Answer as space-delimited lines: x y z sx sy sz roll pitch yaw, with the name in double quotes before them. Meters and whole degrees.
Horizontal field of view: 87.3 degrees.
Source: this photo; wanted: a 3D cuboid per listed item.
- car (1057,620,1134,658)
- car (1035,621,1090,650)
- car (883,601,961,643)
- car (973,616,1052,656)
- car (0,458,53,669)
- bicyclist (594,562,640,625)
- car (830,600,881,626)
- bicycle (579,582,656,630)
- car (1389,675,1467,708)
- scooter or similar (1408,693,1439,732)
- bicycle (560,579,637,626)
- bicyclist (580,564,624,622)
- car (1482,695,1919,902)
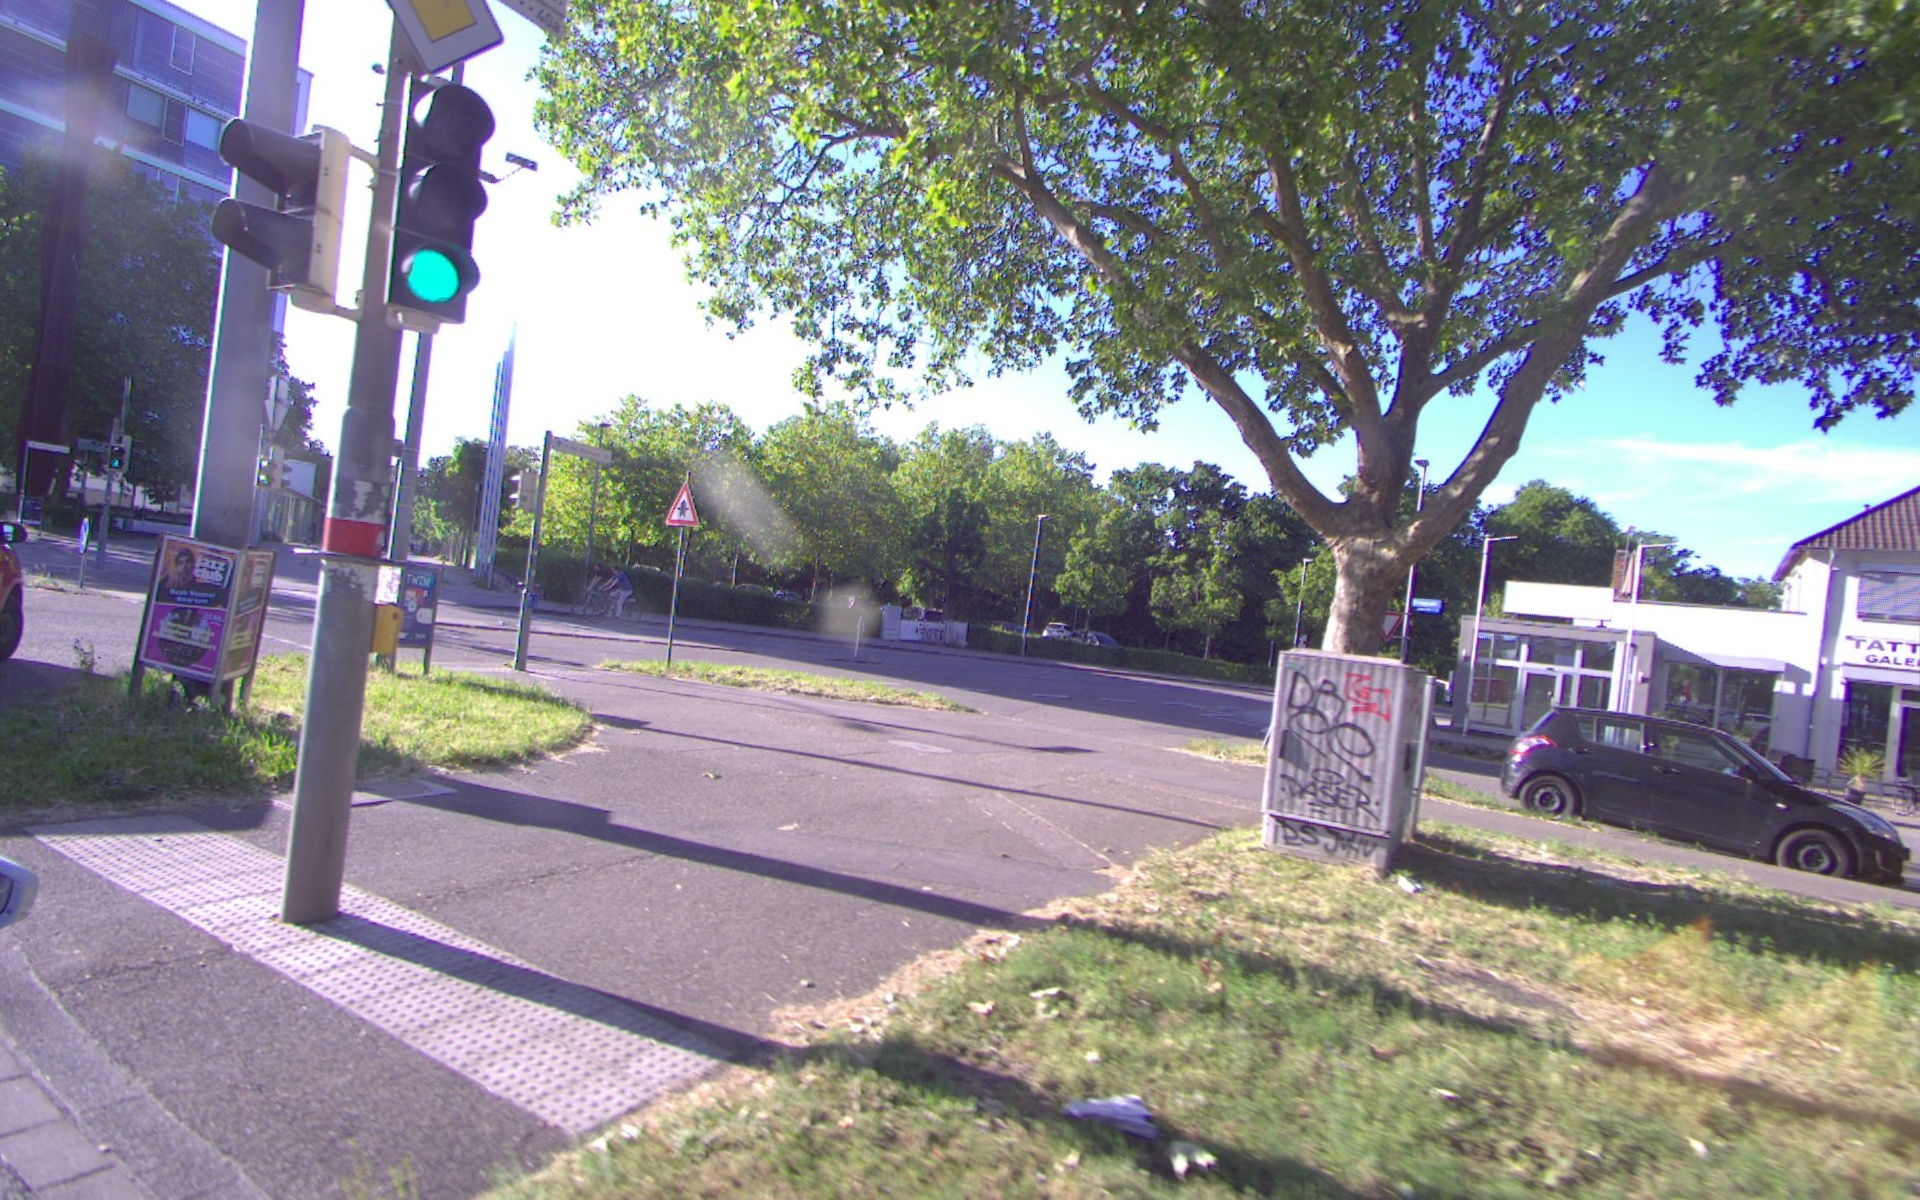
"car" 7.095 2.010 52.900 1.977 1.482 3.974 9 -1 -27
"car" 8.018 2.792 78.579 3.982 1.480 1.976 14 -4 -43
"car" -1.840 1.032 47.992 1.979 1.482 3.970 9 -1 -30
"car" 2.602 1.782 50.742 1.979 1.482 3.970 9 -1 -30
"car" -8.655 -0.380 7.555 1.836 1.835 4.081 9 -3 -32
"bicyclist" -10.371 -0.189 30.413 0.871 1.759 0.822 6 1 -43
"car" -7.838 0.965 75.183 1.982 1.482 3.964 9 -2 -33
"bicycle" -10.349 0.183 30.465 2.091 1.218 0.544 8 0 -45
"car" 30.113 5.879 64.780 1.982 1.482 3.984 9 -2 -33
"scooter or similar" 15.381 3.724 33.405 0.258 1.177 1.010 7 0 -11
"bicycle" -11.146 0.094 31.095 2.091 1.218 0.544 8 0 -45
"bicyclist" -11.082 -0.217 31.121 0.871 1.674 0.783 7 1 -42
"car" 8.482 2.153 11.712 3.972 1.482 1.896 6 -2 34
